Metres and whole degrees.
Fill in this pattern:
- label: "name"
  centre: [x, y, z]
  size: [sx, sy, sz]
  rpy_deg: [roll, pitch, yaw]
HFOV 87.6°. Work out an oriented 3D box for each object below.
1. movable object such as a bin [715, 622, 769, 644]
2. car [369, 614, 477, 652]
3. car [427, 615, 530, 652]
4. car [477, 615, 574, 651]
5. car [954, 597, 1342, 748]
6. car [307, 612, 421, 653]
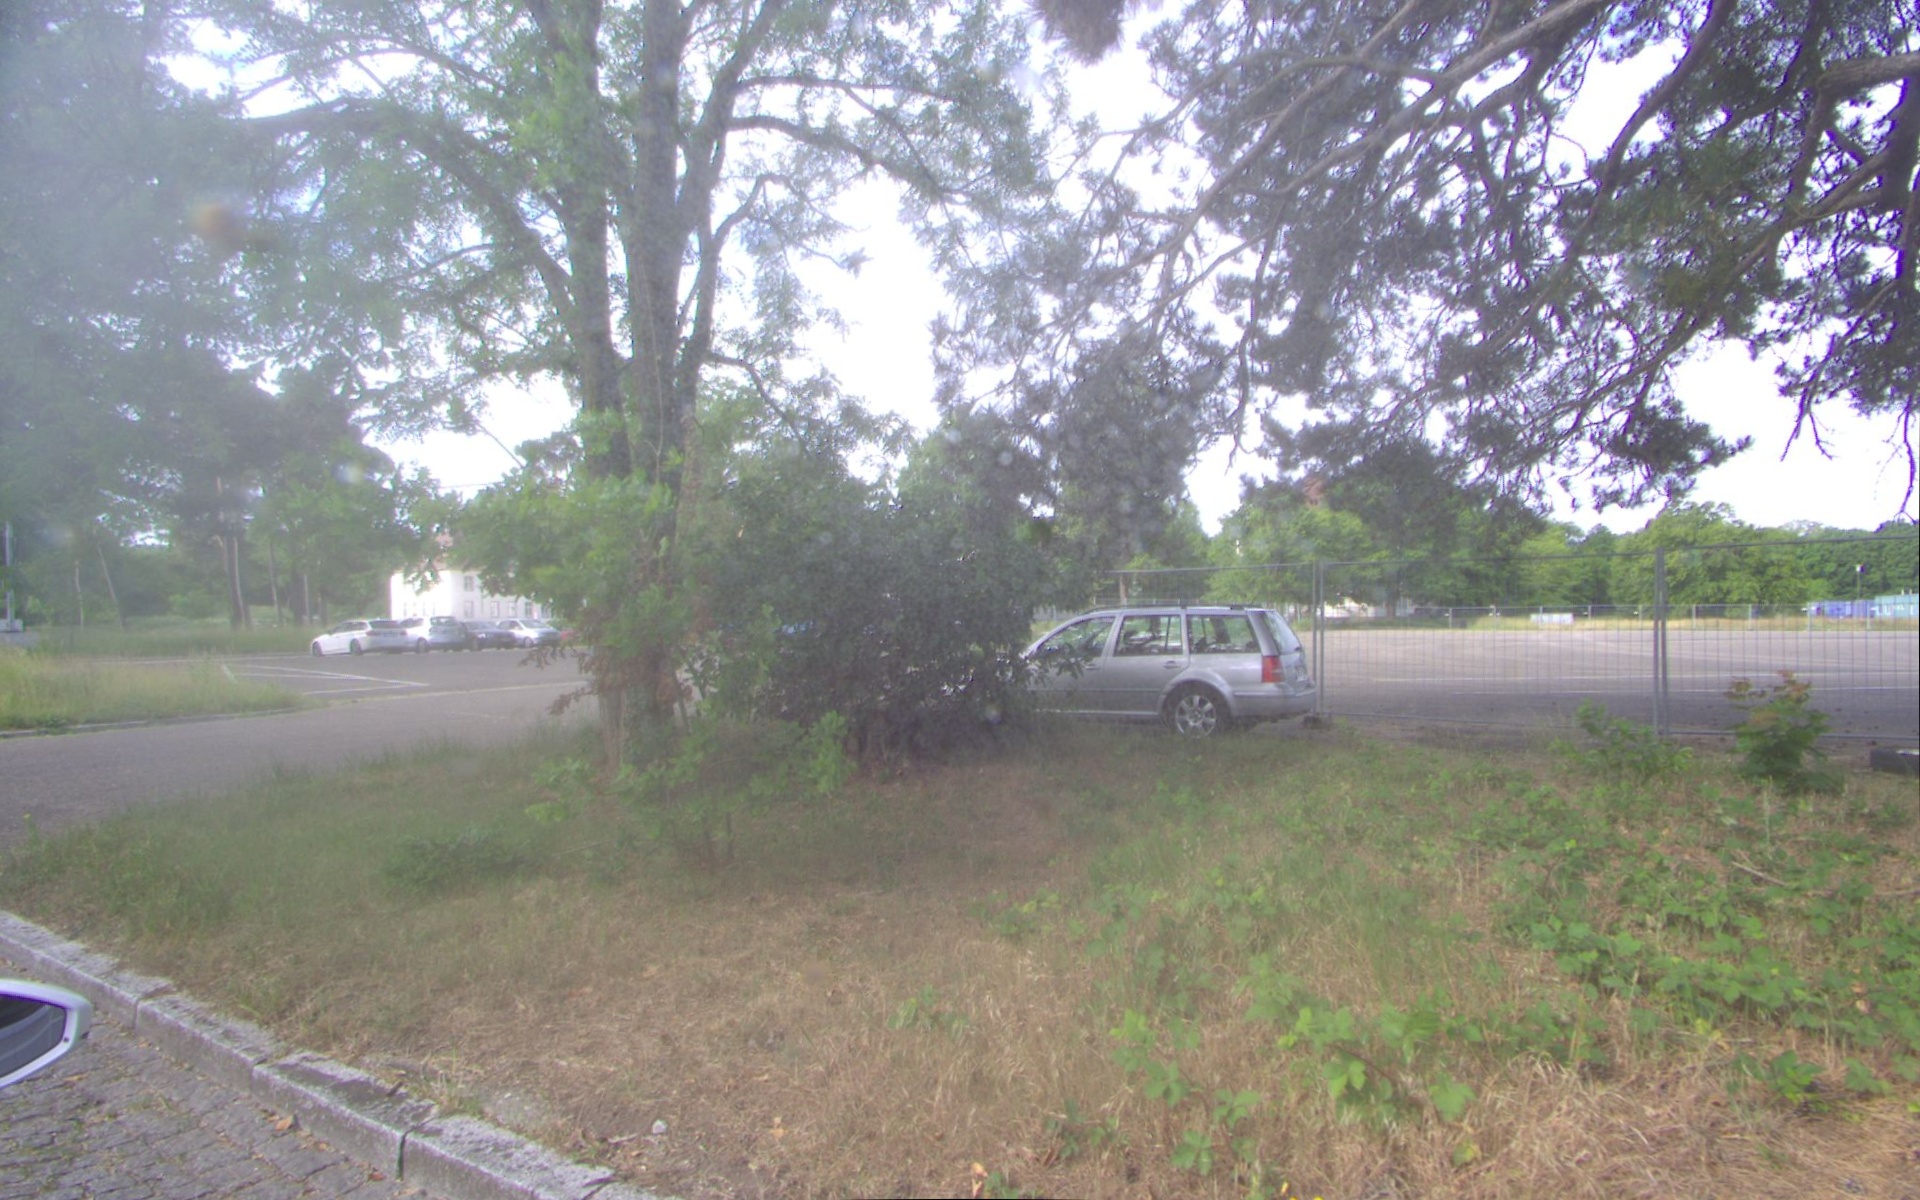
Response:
- label: "movable object such as a bin"
  centre: [-8.923, 1.338, 41.012]
  size: [1.928, 0.836, 1.181]
  rpy_deg: [-1, -1, 37]
- label: "car"
  centre: [-22.686, 1.394, 42.297]
  size: [4.359, 1.500, 1.992]
  rpy_deg: [-2, -1, 29]
- label: "car"
  centre: [-21.518, 1.493, 44.713]
  size: [4.359, 1.500, 1.992]
  rpy_deg: [-2, -1, 29]
- label: "car"
  centre: [-20.502, 1.576, 47.228]
  size: [4.359, 1.542, 1.992]
  rpy_deg: [-2, -3, 29]
- label: "car"
  centre: [2.077, 0.768, 11.384]
  size: [4.014, 1.444, 1.645]
  rpy_deg: [-1, -3, 31]
- label: "car"
  centre: [-23.867, 1.302, 40.069]
  size: [4.359, 1.500, 1.992]
  rpy_deg: [-2, -1, 29]
